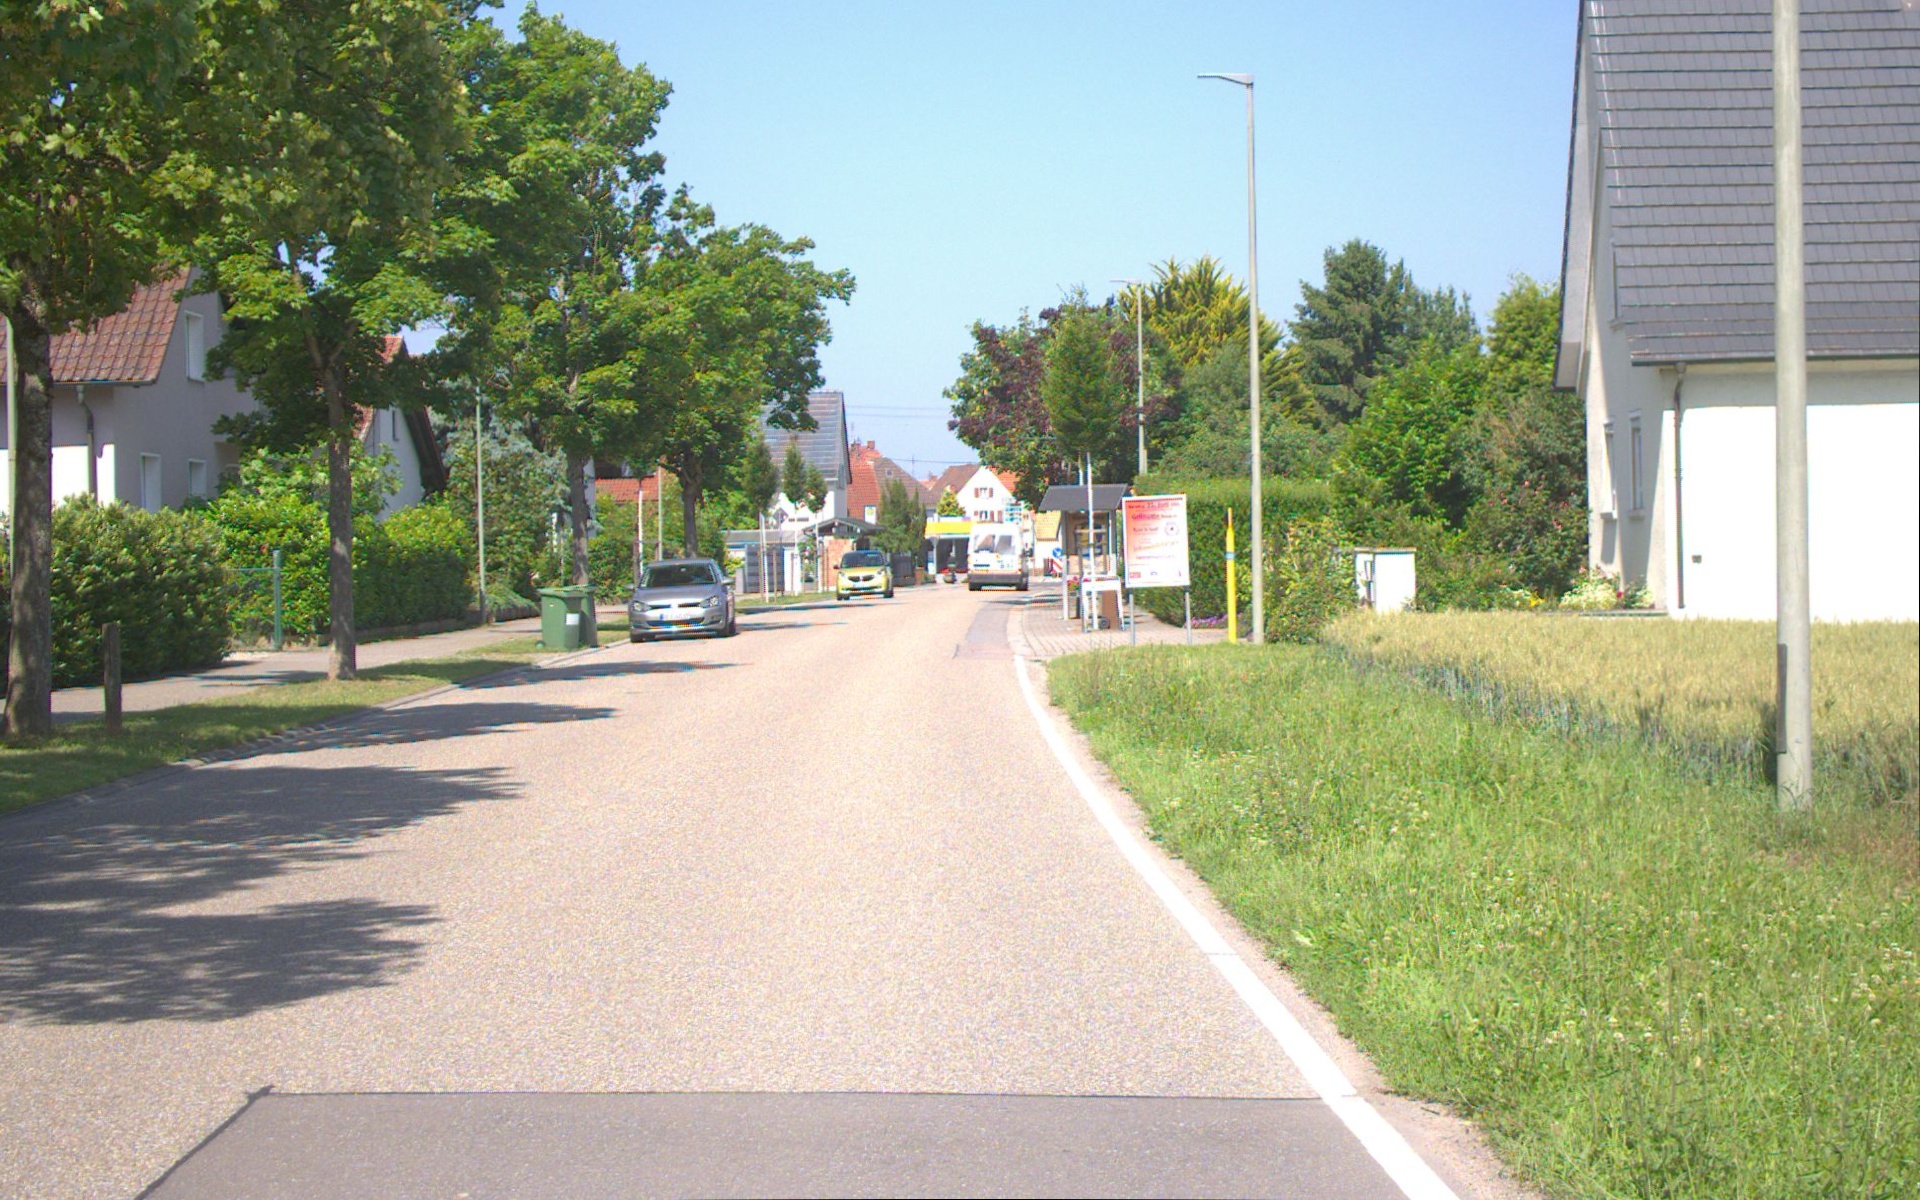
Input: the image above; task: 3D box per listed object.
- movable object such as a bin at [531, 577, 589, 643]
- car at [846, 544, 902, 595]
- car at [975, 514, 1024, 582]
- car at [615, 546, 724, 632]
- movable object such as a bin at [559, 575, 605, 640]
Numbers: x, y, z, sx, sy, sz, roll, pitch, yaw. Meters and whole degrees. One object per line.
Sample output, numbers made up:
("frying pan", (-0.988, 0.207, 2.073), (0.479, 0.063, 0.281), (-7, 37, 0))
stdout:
("movable object such as a bin", (-6.651, 0.173, 57.147), (0.714, 1.075, 0.639), (-1, 1, 26))
("car", (-2.759, -0.976, 109.644), (1.665, 1.519, 3.443), (-2, 1, -2))
("car", (1.451, -1.915, 127.491), (1.737, 2.424, 4.374), (-1, 1, 1))
("car", (-5.249, -0.228, 62.489), (1.647, 1.419, 4.081), (-3, 1, -1))
("movable object such as a bin", (-6.368, 0.131, 57.917), (0.575, 1.075, 0.598), (-1, 1, 14))
